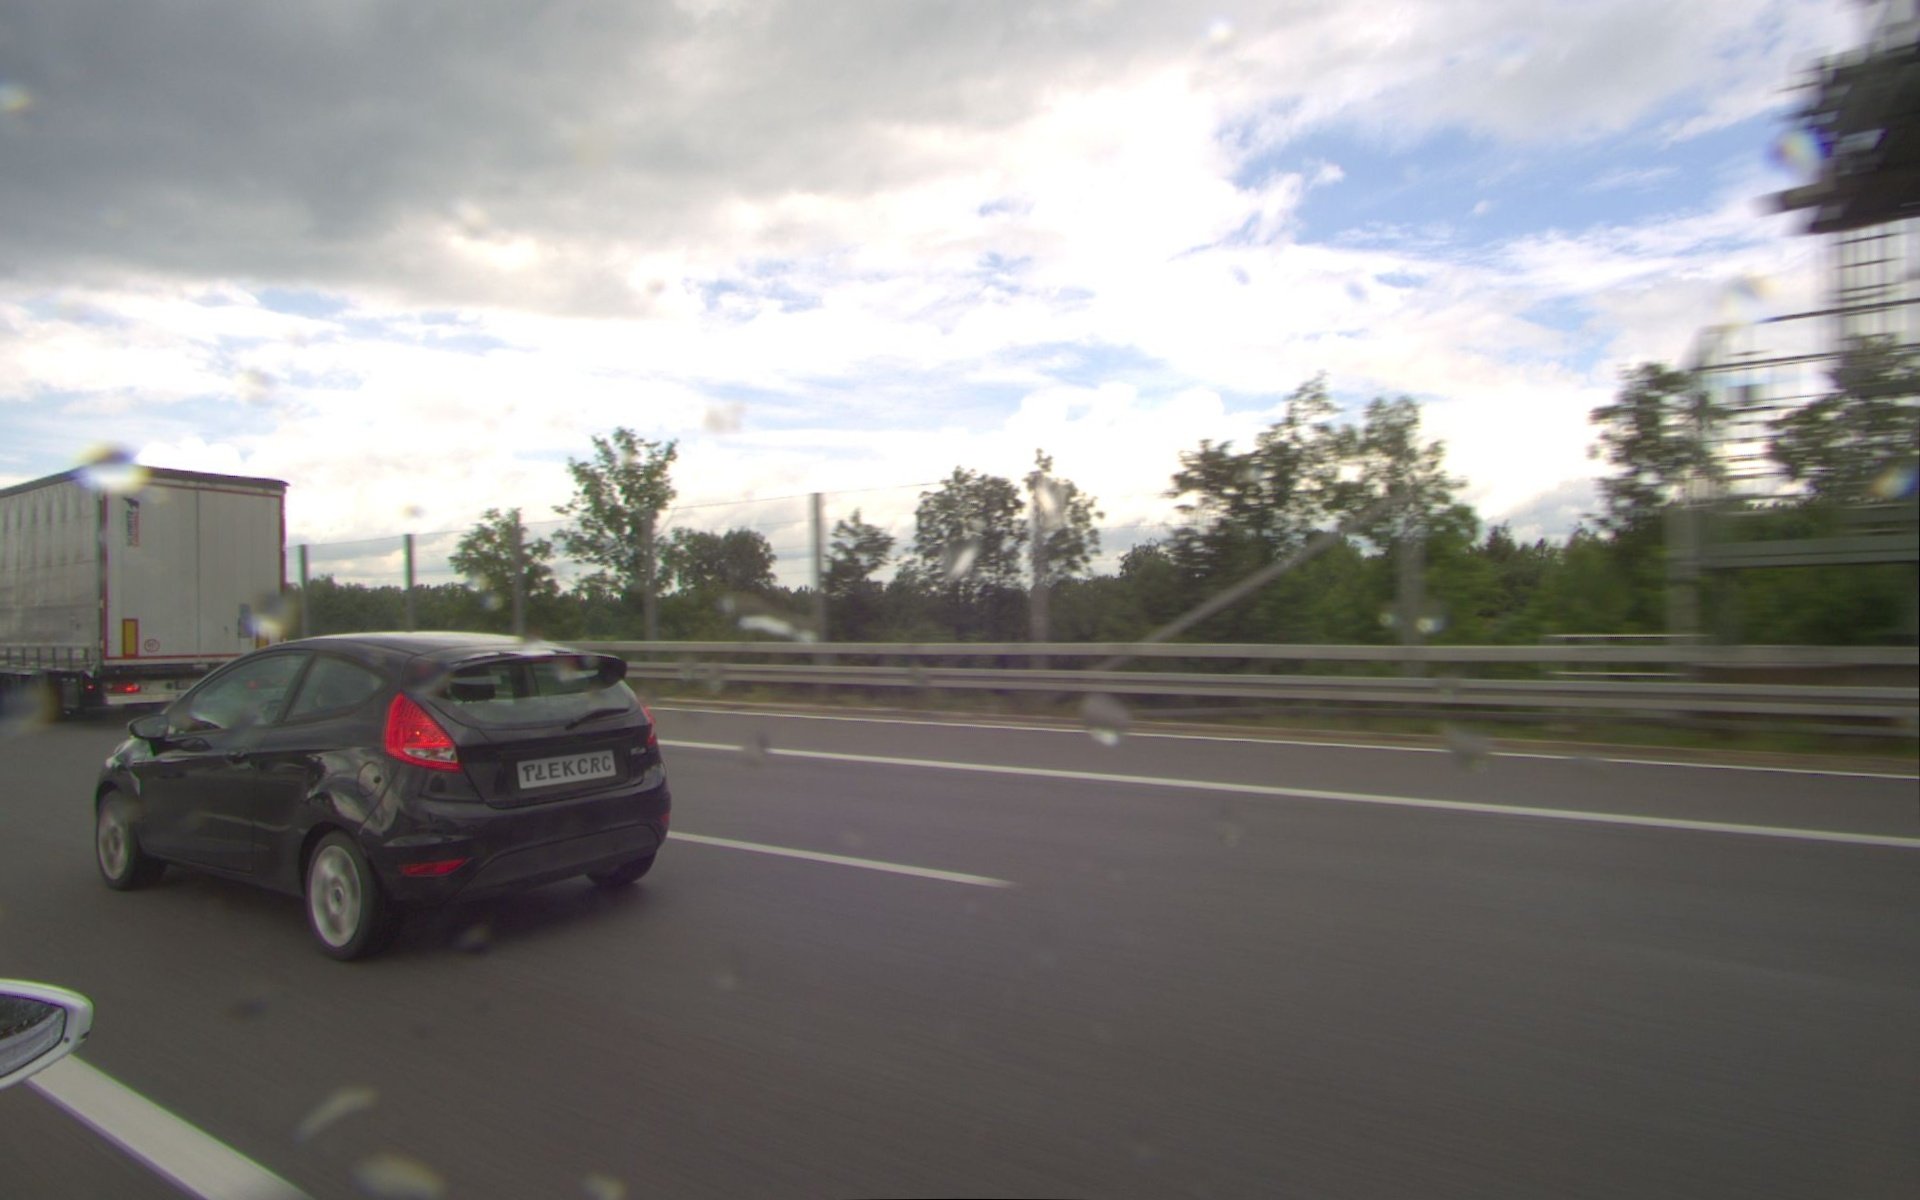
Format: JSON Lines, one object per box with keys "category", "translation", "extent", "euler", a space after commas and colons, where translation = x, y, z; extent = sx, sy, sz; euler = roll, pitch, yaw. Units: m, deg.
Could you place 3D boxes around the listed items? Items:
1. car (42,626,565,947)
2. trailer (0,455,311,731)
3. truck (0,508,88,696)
{"category": "car", "translation": [-3.992, 0.889, 6.013], "extent": [3.117, 1.460, 1.445], "euler": [-1, -1, 31]}
{"category": "trailer", "translation": [-17.871, 0.001, 19.810], "extent": [13.916, 4.072, 2.956], "euler": [-1, -1, 33]}
{"category": "truck", "translation": [-23.444, 0.081, 23.366], "extent": [6.494, 4.072, 2.956], "euler": [-1, -1, 32]}
